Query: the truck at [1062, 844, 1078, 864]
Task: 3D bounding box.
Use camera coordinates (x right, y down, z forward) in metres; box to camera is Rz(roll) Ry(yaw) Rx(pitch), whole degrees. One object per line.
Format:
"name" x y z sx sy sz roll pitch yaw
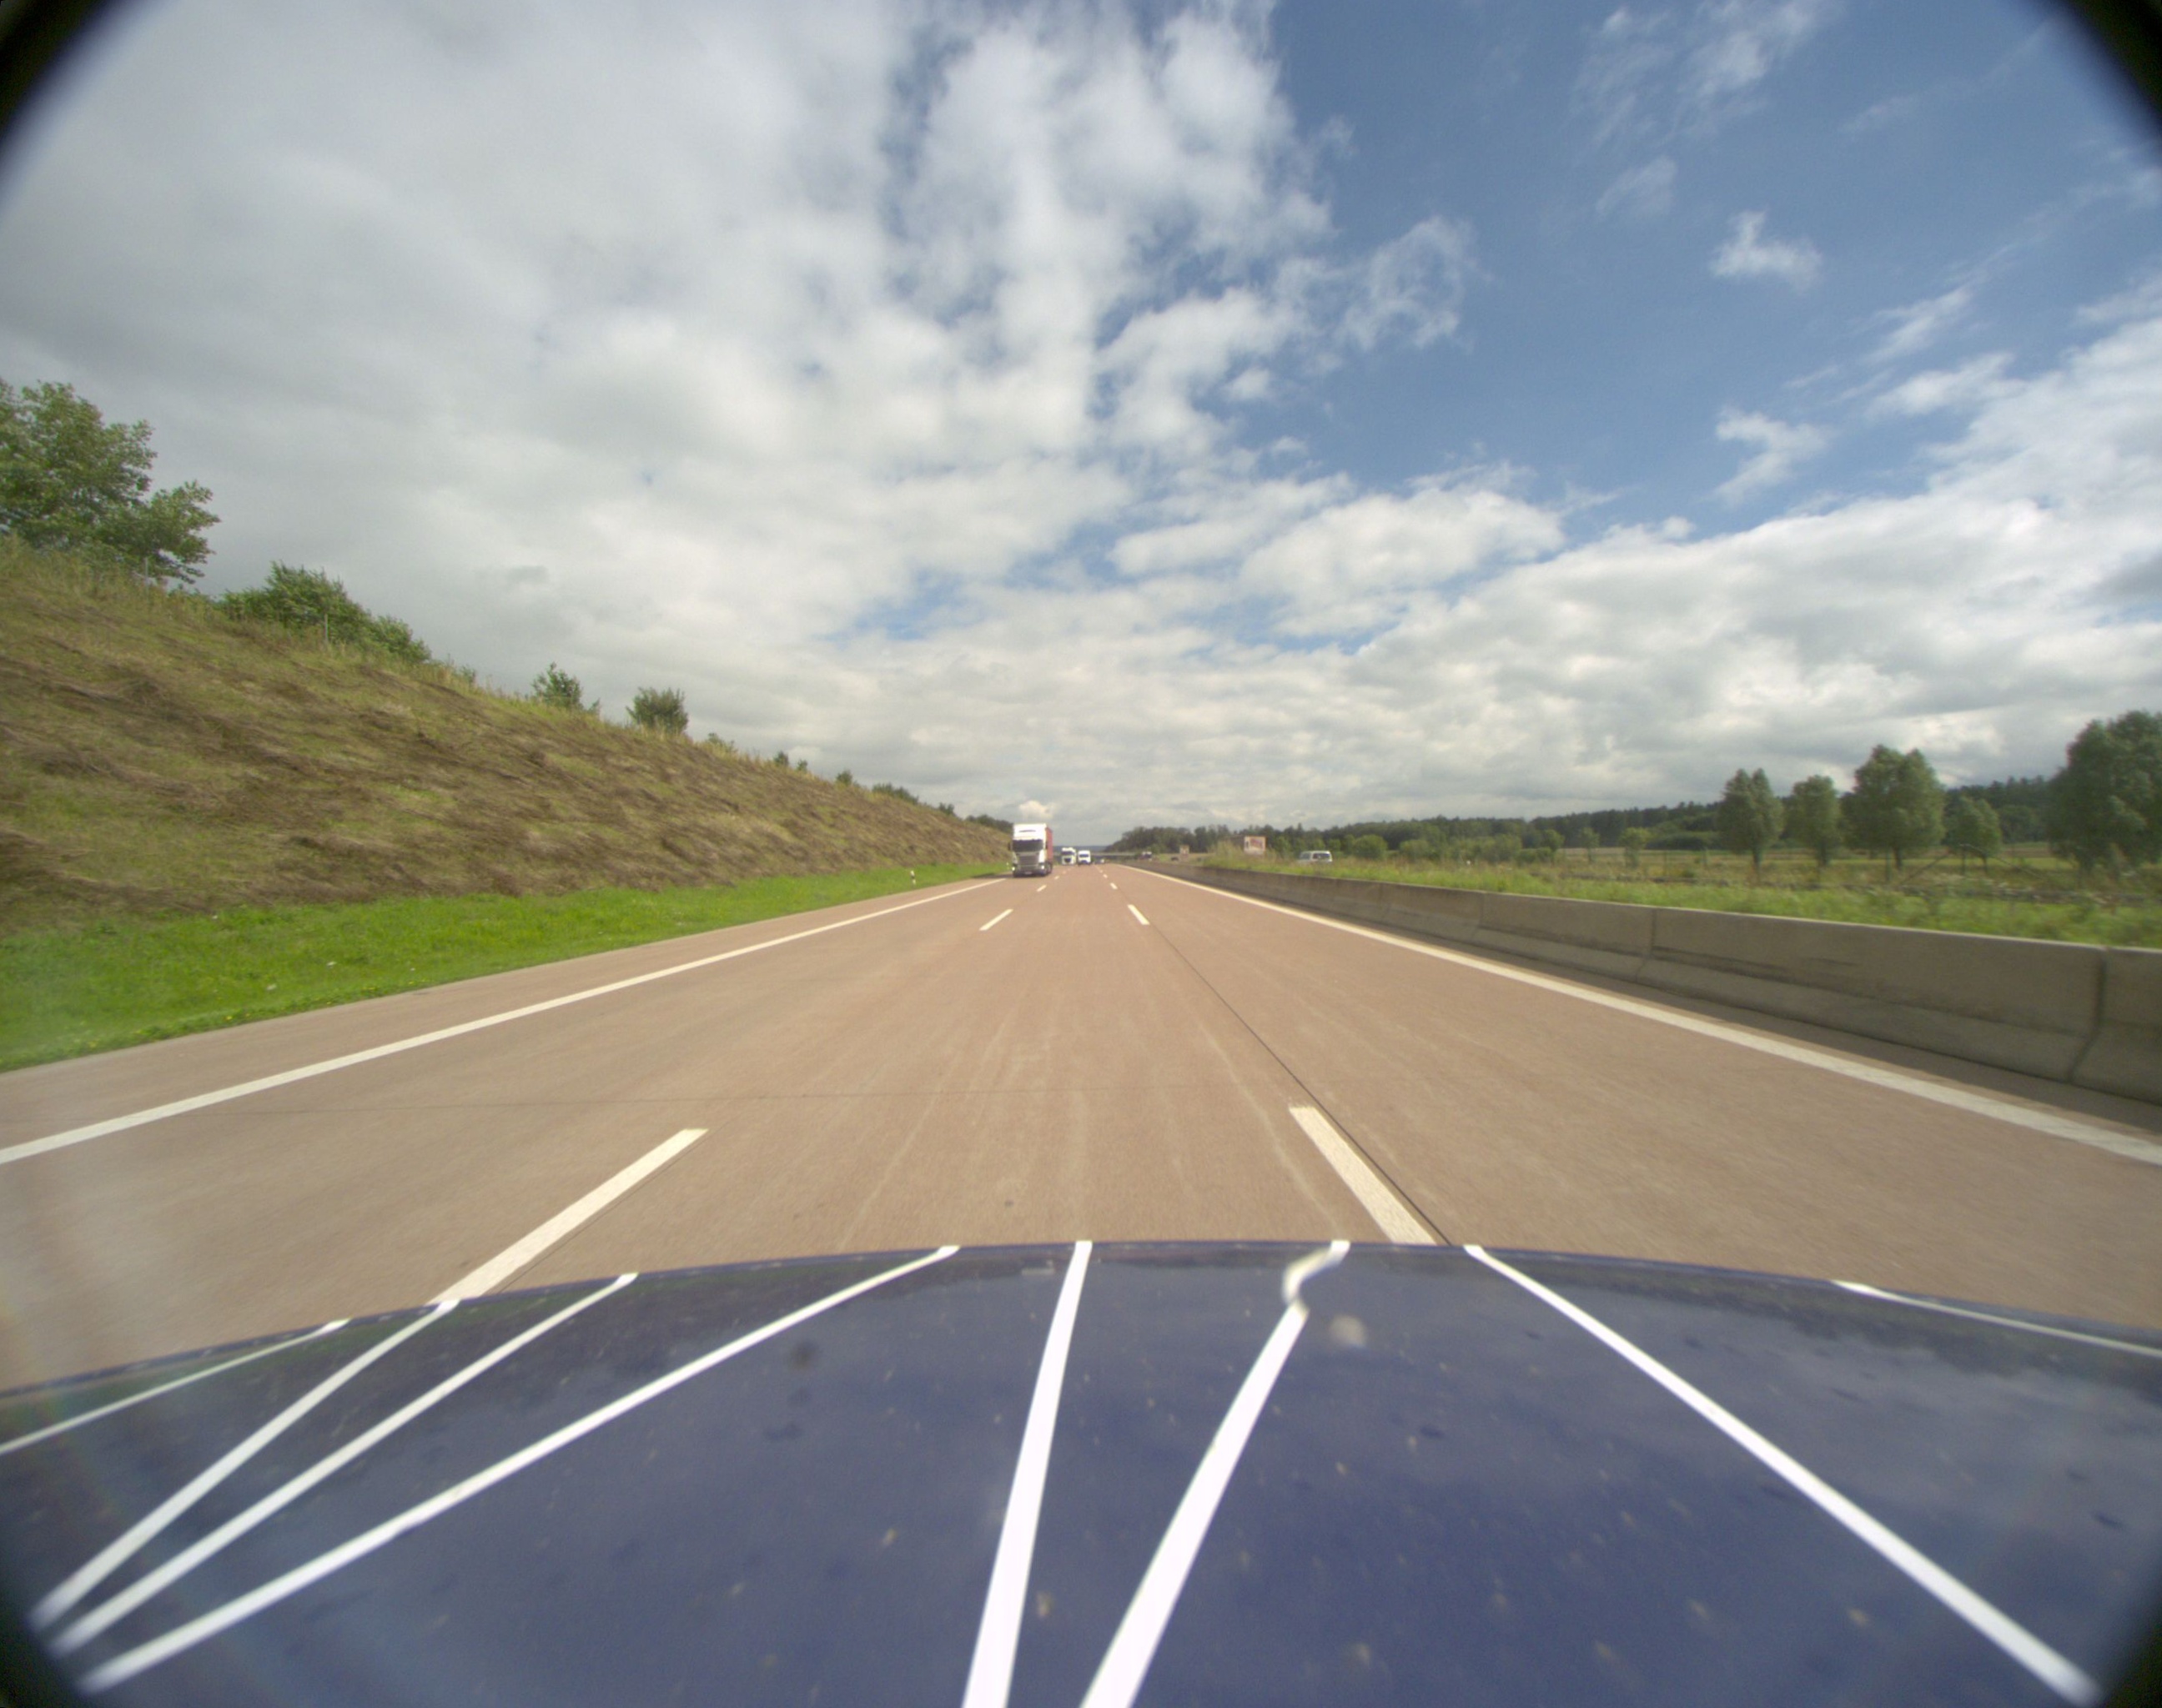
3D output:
"truck" -2.335 0.020 168.849 3.107 4.333 11.256 -2 0 0

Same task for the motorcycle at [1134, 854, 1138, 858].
"motorcycle" 18.265 0.664 252.021 0.929 1.296 2.342 -2 0 1

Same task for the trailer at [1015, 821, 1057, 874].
"trailer" -3.724 -0.538 65.995 2.679 4.069 12.789 -2 0 1

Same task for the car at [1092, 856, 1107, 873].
"car" 3.671 2.008 151.868 2.773 3.260 6.393 -2 0 1

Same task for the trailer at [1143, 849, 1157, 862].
"trailer" 22.416 0.513 246.631 3.202 3.955 16.326 -2 0 2

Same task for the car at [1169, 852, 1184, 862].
"car" 17.009 0.548 135.286 1.998 1.565 5.218 -3 0 0

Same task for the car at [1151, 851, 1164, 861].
"car" 8.930 0.250 88.944 1.225 1.145 2.757 -2 0 1

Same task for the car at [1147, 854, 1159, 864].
"car" 14.576 0.975 154.565 1.998 1.971 5.218 -2 0 0

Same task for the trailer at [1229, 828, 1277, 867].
"trailer" 20.377 -0.722 90.994 3.029 4.239 12.095 -2 0 1

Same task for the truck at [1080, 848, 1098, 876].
"truck" 1.310 1.322 129.072 2.681 4.333 11.808 -2 0 0

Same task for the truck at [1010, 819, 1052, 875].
"truck" -3.798 -0.532 59.328 2.681 4.082 6.616 -2 0 1

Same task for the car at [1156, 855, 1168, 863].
"car" 18.017 1.166 169.201 1.978 1.652 4.490 -3 0 0

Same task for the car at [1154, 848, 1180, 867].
"car" 8.014 0.289 70.899 1.977 1.652 4.082 -3 0 1

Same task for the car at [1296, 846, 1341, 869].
"car" 20.038 0.291 64.344 2.063 1.835 5.728 0 0 1

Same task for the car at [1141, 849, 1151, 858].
"car" 16.478 -0.096 192.713 1.991 2.002 5.051 -2 1 0
